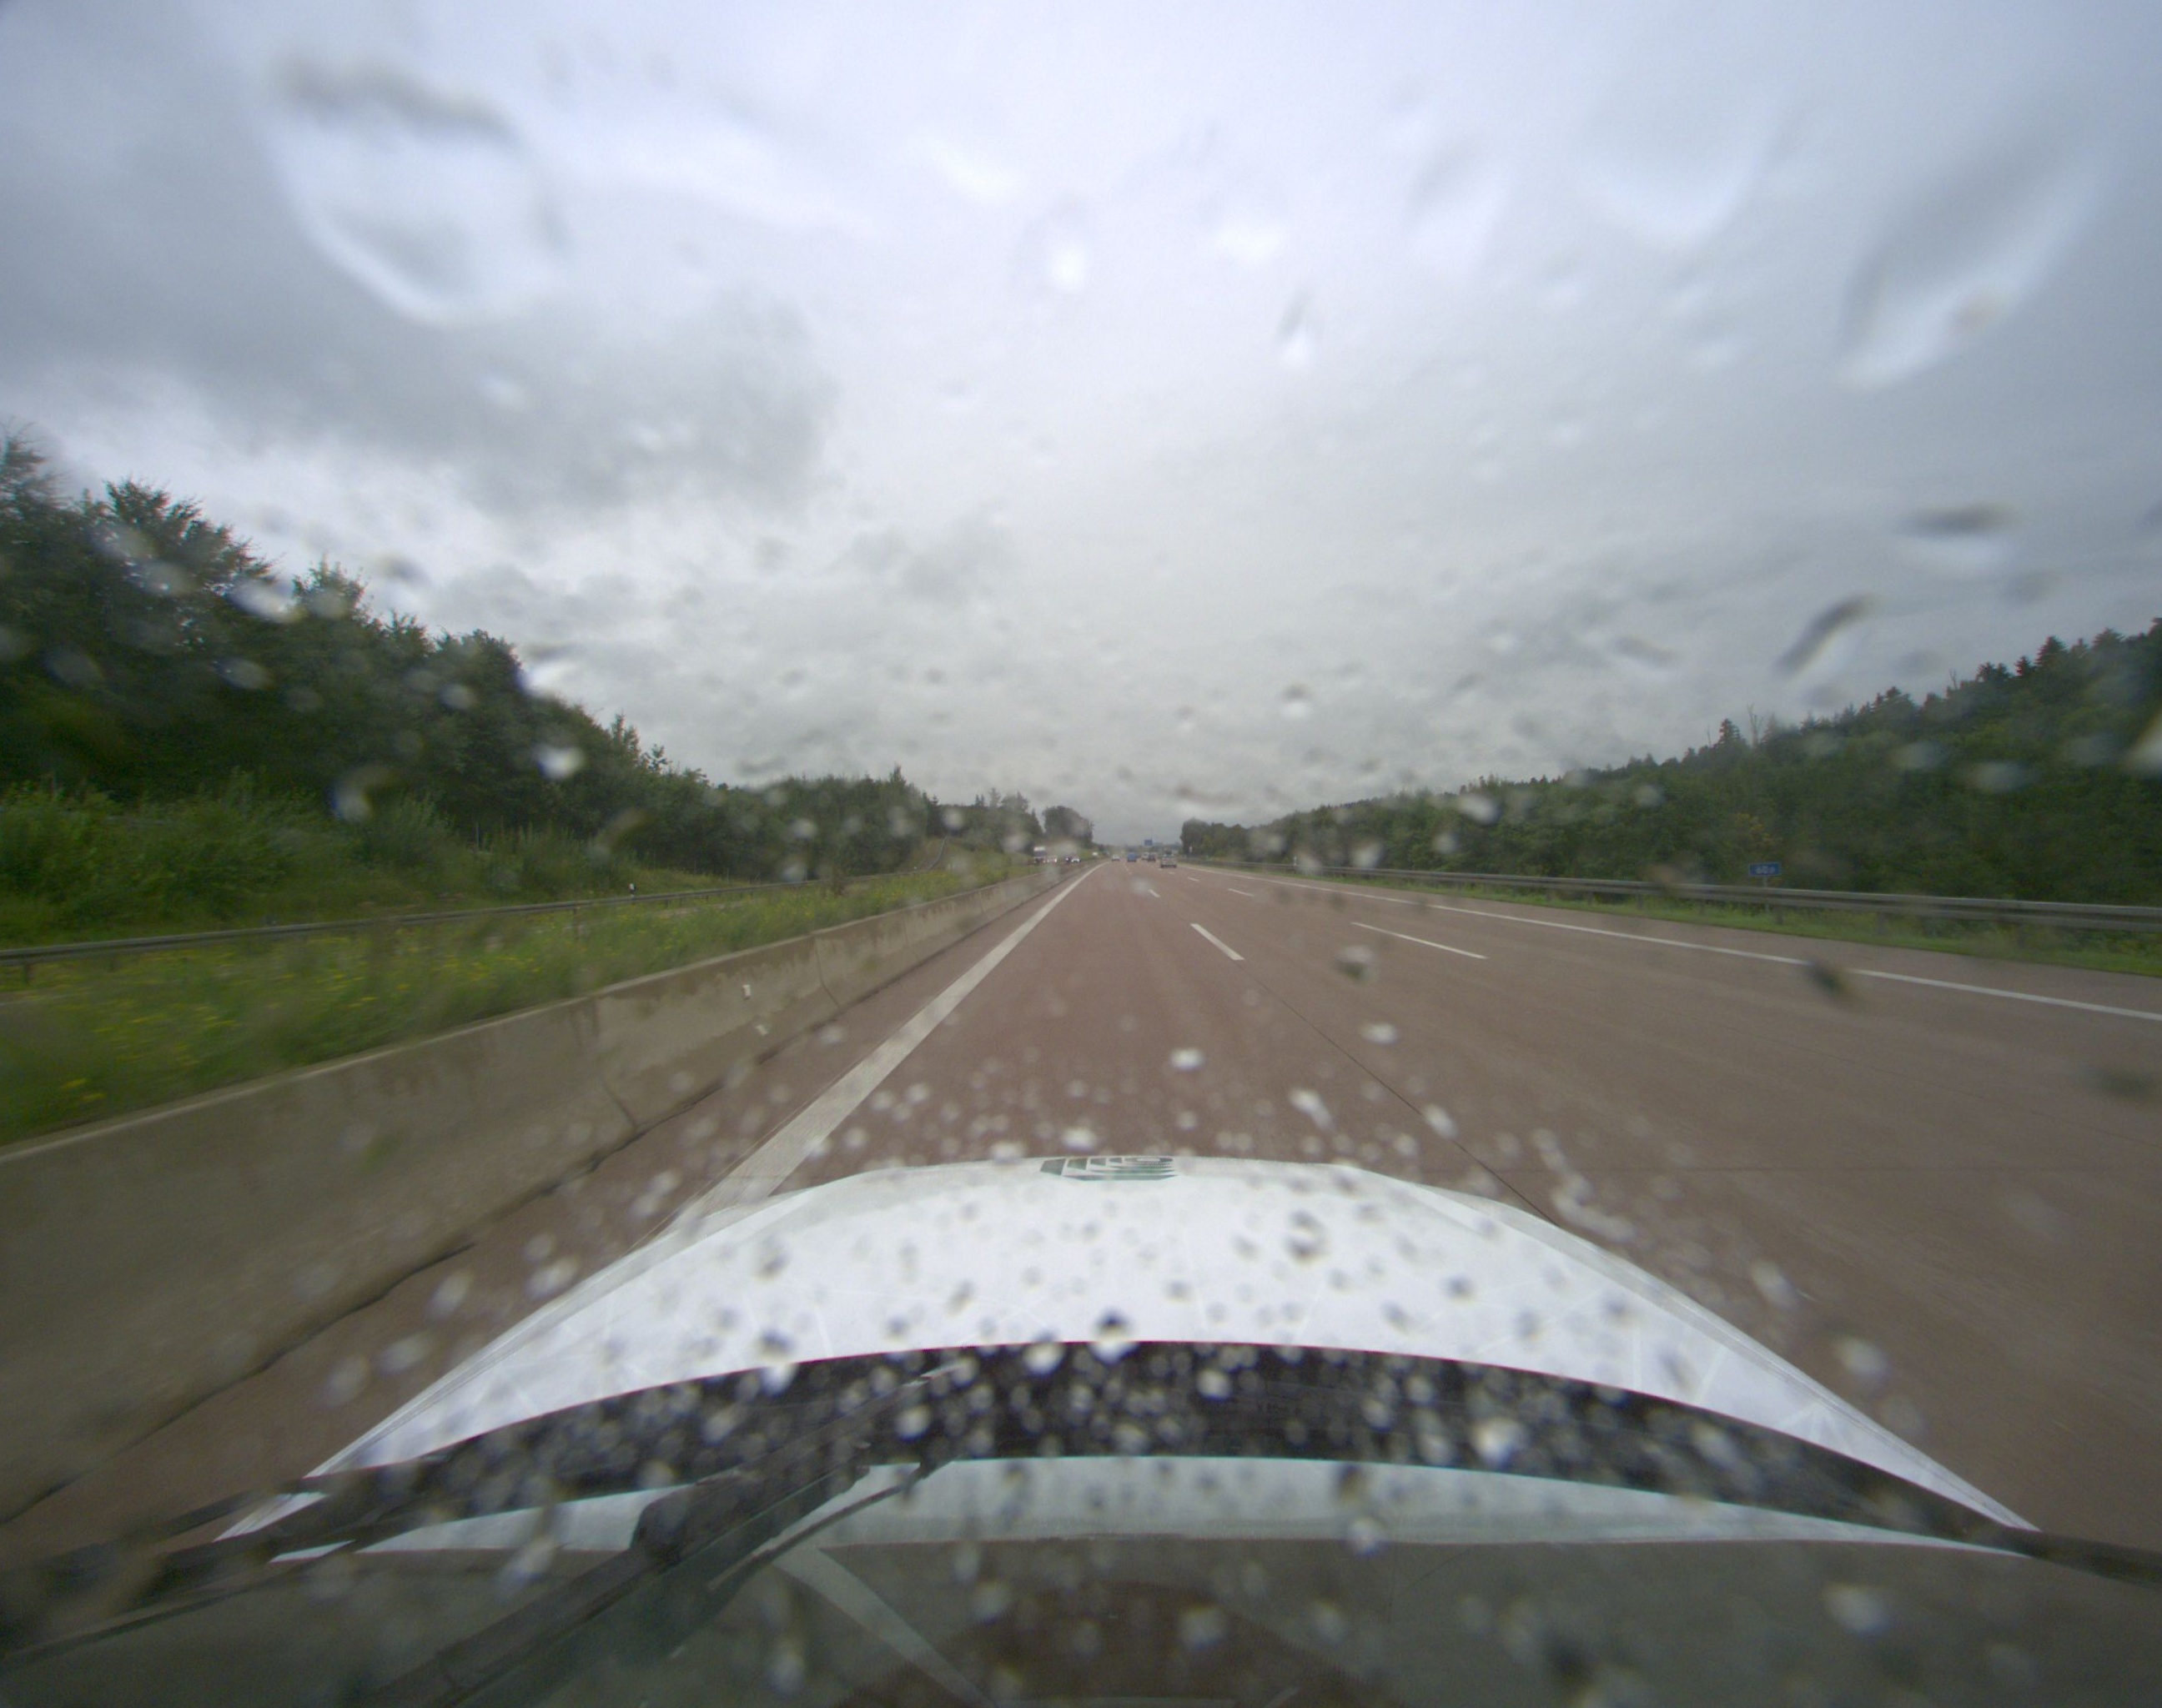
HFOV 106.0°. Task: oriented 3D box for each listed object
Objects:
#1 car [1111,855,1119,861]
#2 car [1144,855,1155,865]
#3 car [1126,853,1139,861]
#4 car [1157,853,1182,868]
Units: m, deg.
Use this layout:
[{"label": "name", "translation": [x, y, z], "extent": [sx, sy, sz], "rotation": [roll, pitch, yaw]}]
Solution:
[{"label": "car", "translation": [8.093, 0.988, 196.378], "extent": [1.867, 1.444, 4.878], "rotation": [0, -1, 1]}, {"label": "car", "translation": [14.795, 1.255, 175.862], "extent": [1.988, 2.014, 3.996], "rotation": [0, -1, -2]}, {"label": "car", "translation": [10.899, 0.644, 173.076], "extent": [2.316, 1.750, 4.873], "rotation": [0, -1, -2]}, {"label": "car", "translation": [10.570, 0.770, 97.190], "extent": [2.316, 1.750, 4.873], "rotation": [0, -1, -2]}]
